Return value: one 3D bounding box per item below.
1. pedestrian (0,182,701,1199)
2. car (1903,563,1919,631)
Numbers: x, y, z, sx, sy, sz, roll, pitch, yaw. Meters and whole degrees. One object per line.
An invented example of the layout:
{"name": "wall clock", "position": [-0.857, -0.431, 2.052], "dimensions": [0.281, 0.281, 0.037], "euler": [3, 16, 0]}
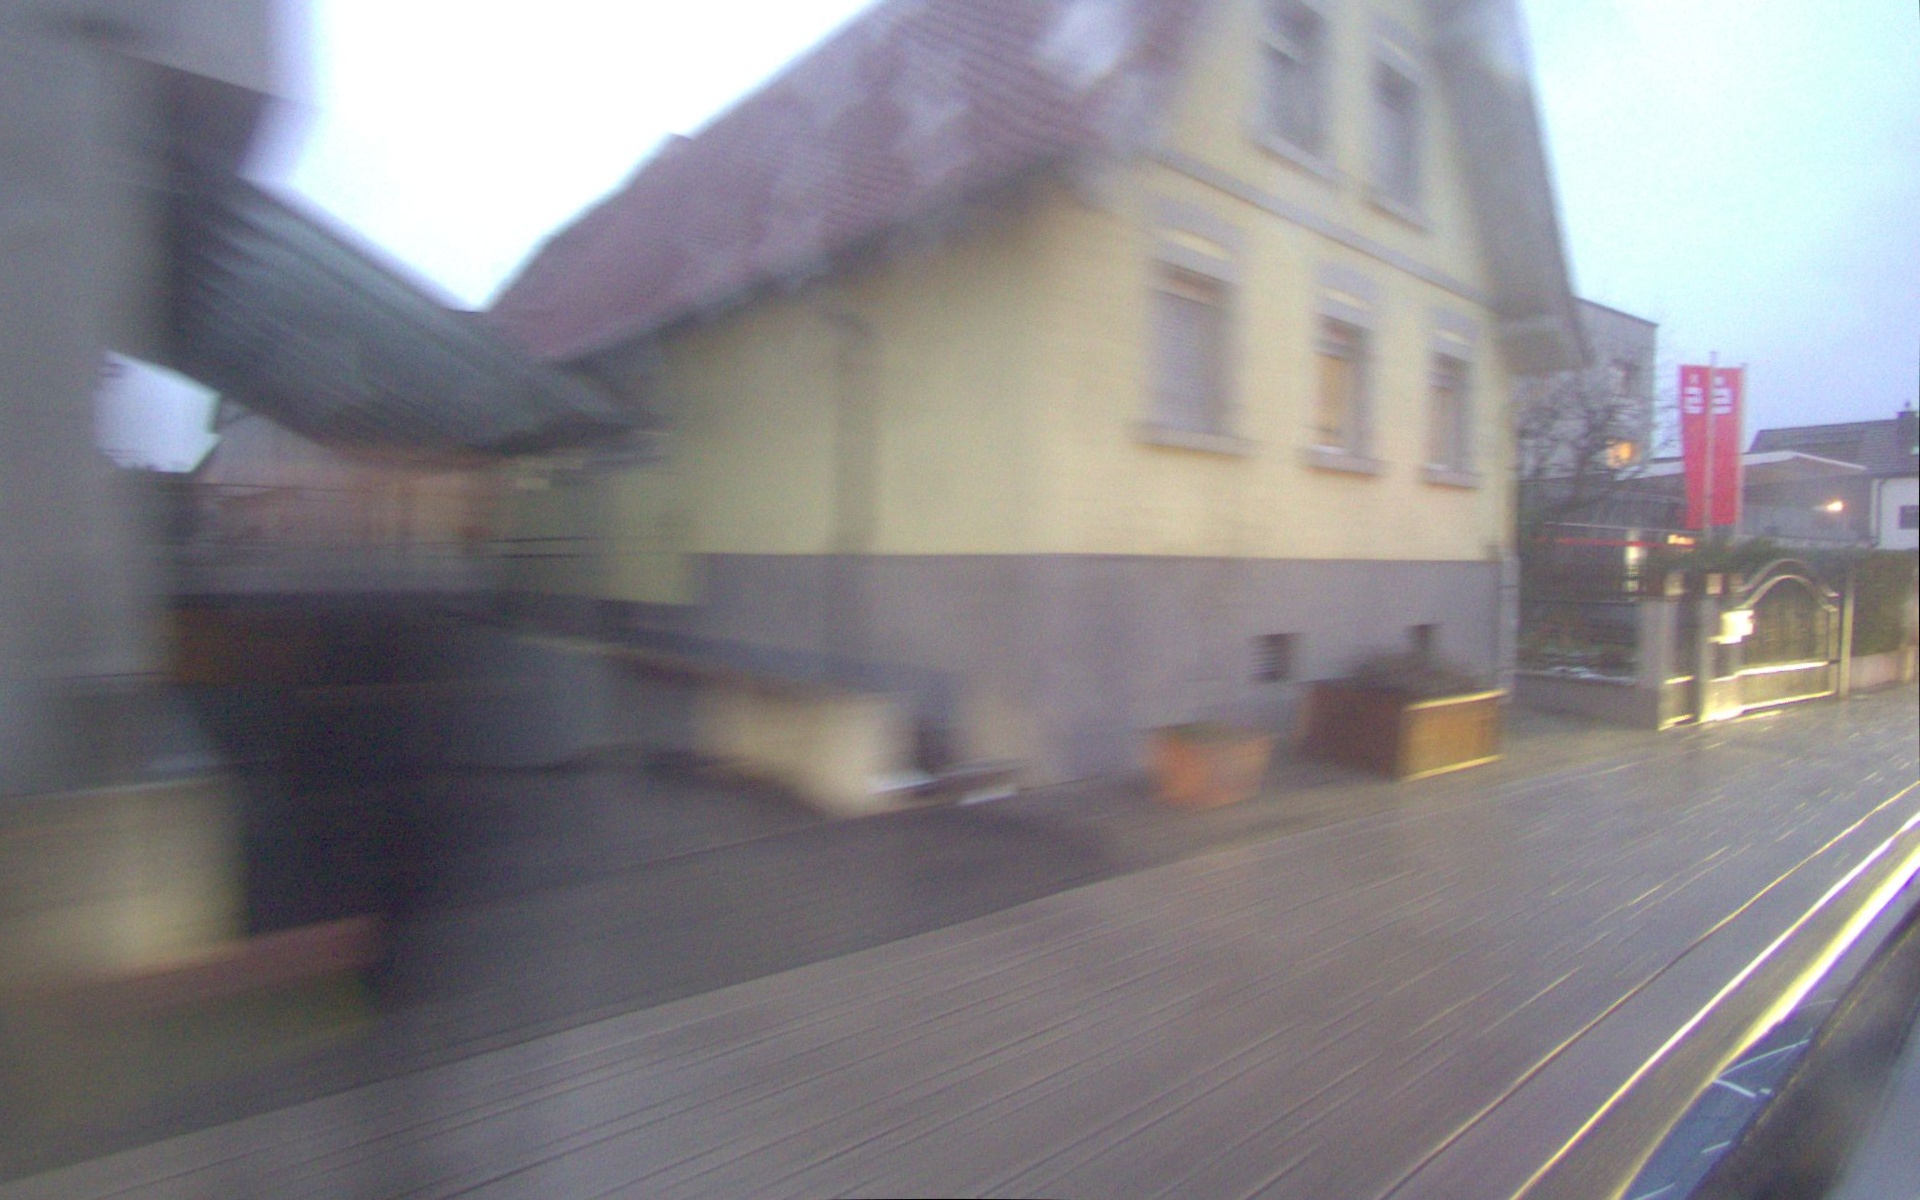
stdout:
{"name": "pedestrian", "position": [-1.039, 0.369, 1.777], "dimensions": [0.857, 1.751, 0.747], "euler": [2, 1, -38]}
{"name": "car", "position": [31.217, 0.047, 30.091], "dimensions": [1.959, 2.074, 4.113], "euler": [1, 3, -26]}
